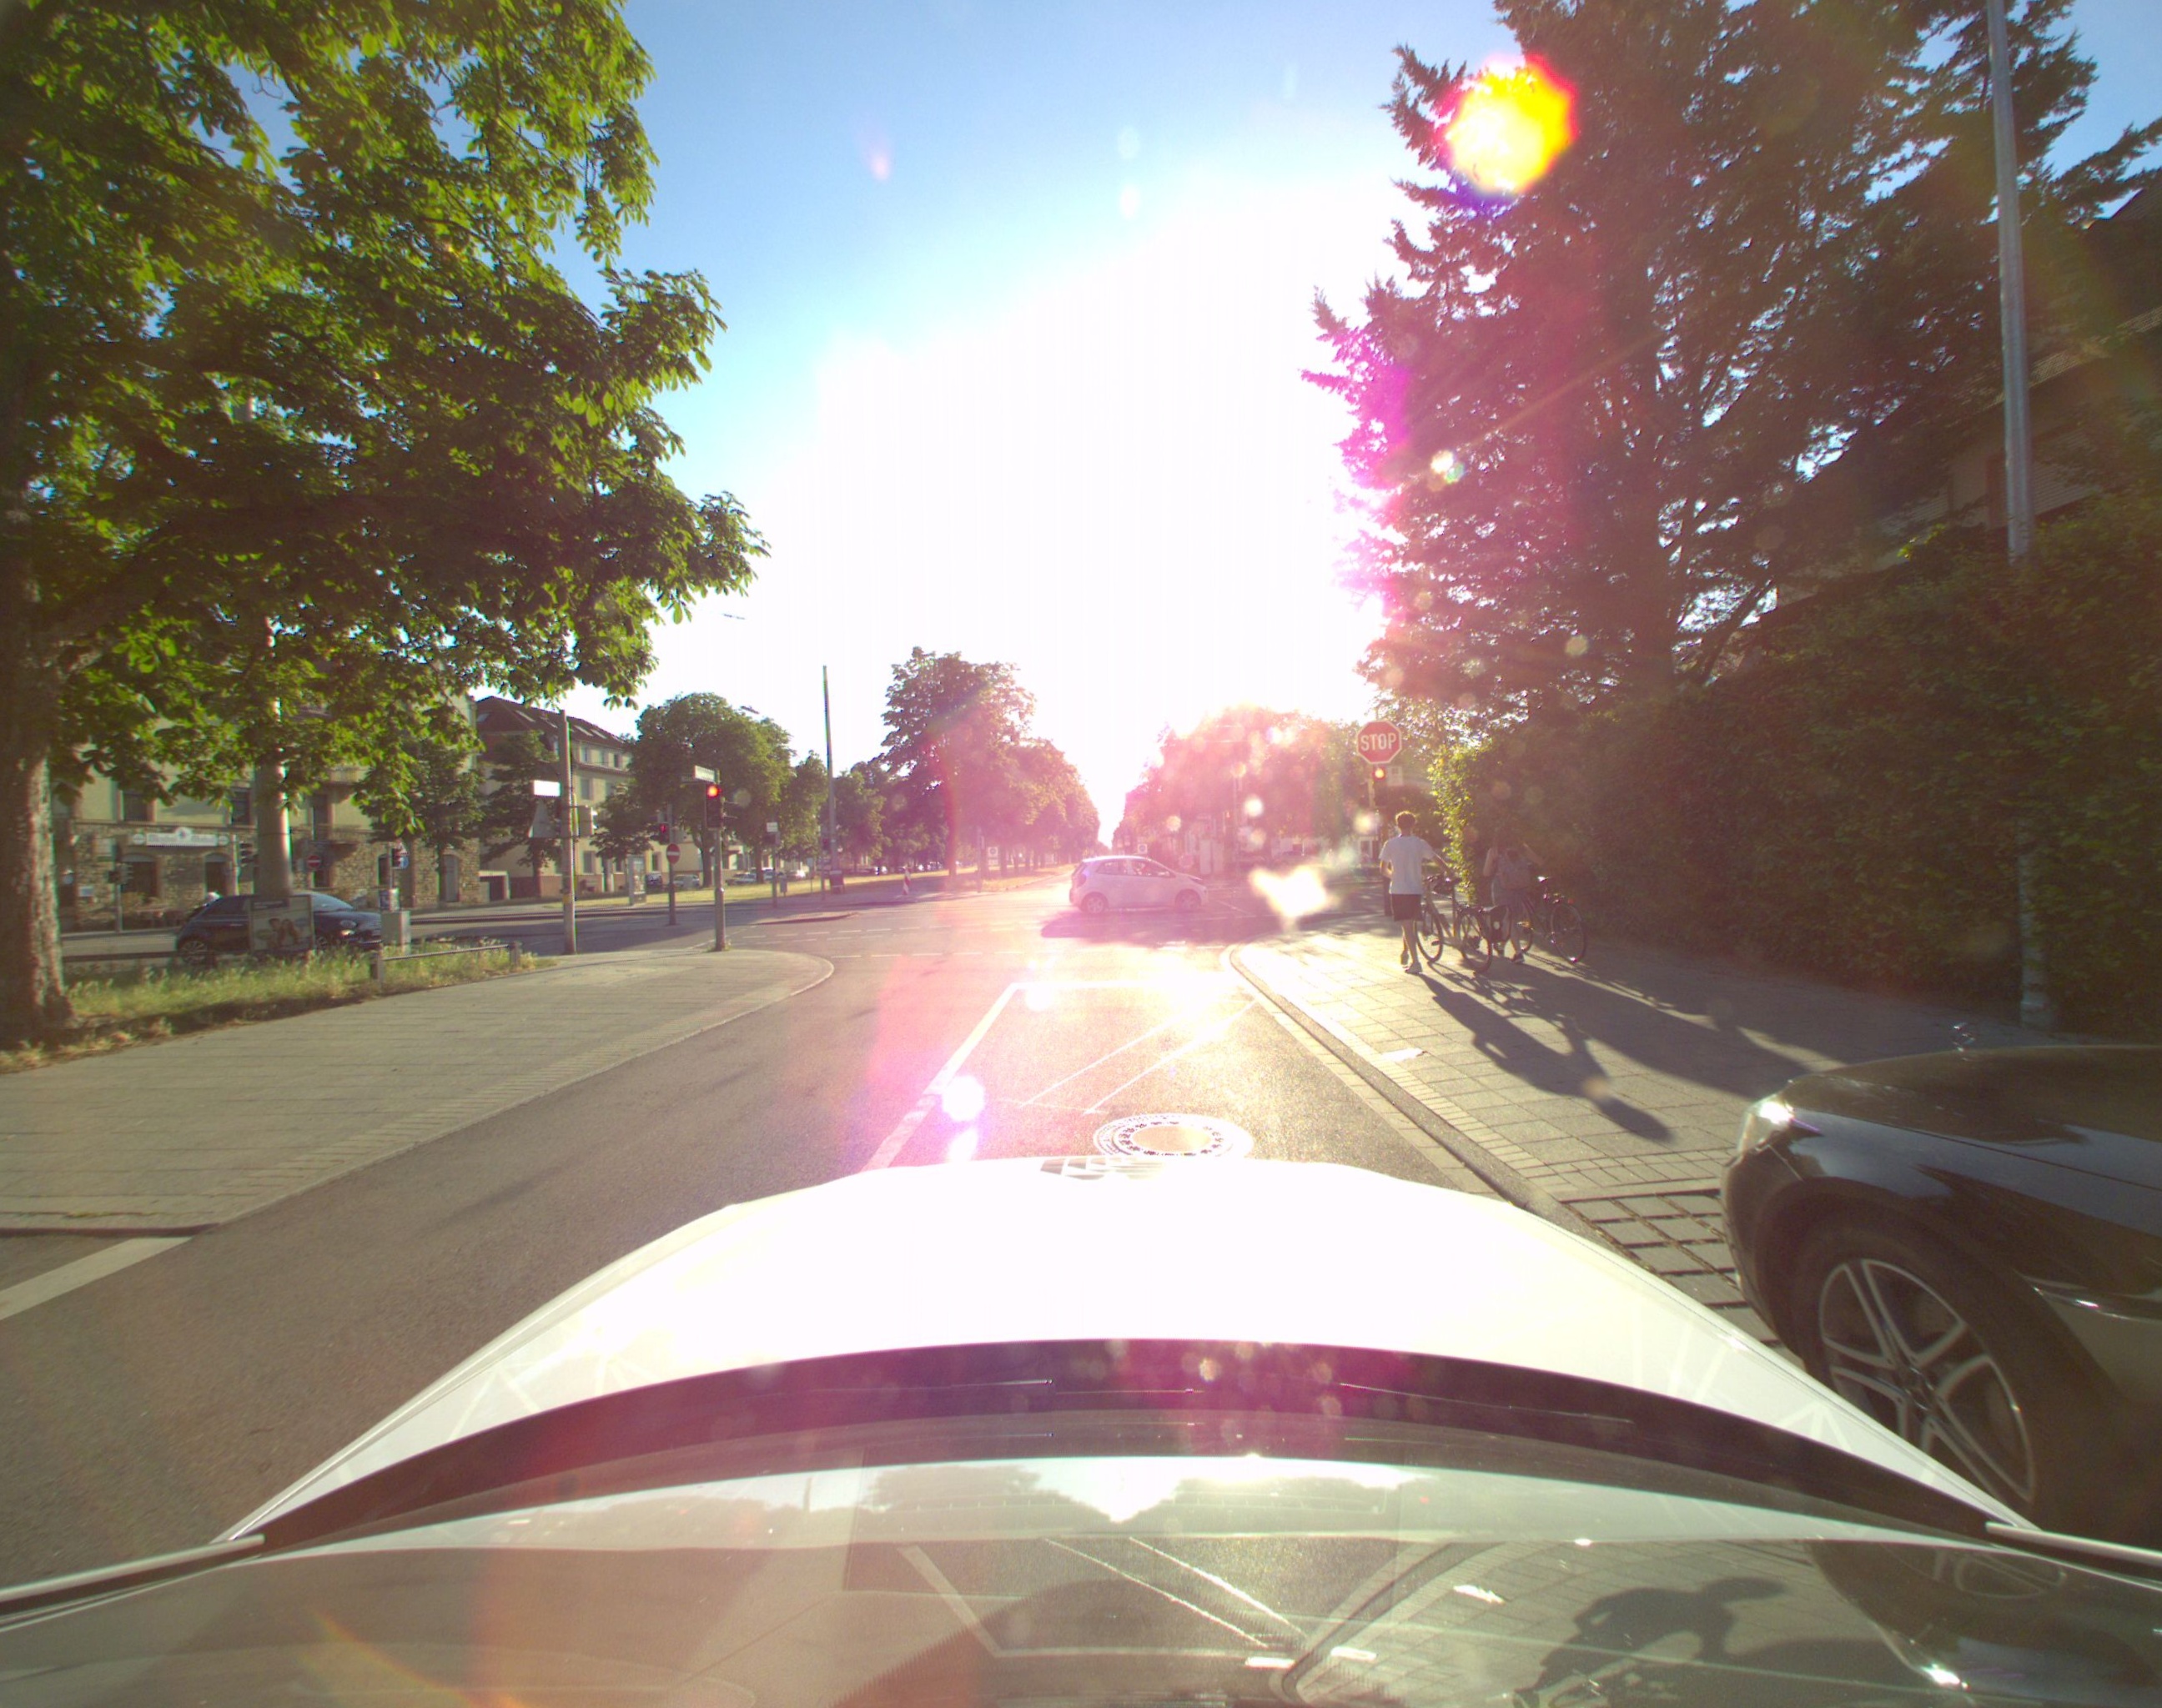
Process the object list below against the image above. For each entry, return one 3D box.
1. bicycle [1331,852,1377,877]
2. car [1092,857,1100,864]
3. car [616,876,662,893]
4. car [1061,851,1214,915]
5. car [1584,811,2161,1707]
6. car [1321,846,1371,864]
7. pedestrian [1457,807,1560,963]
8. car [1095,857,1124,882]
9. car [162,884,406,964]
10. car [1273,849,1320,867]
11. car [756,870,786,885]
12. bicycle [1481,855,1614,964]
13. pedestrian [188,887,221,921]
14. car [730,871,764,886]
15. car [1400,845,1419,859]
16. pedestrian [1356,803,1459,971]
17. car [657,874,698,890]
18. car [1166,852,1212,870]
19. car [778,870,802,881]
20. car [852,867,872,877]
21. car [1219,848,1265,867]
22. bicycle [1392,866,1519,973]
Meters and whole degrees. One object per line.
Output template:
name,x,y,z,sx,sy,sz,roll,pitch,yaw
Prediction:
bicycle,13.060,0.515,38.998,1.945,1.132,0.620,-2,-1,4
car,4.168,1.776,225.405,2.125,2.013,3.904,-2,0,3
car,-40.587,2.755,74.858,1.728,1.397,3.801,-2,0,8
car,1.439,0.725,21.342,3.686,1.488,1.735,-1,0,-10
car,2.602,0.665,0.266,1.853,1.542,4.873,-2,0,0
car,23.340,0.119,71.701,3.836,1.427,1.596,-2,0,-3
pedestrian,5.006,0.351,9.572,0.668,1.708,0.622,-7,0,-4
car,1.813,0.935,50.676,1.633,1.451,3.311,-2,0,4
car,-17.695,1.514,18.251,3.594,1.498,1.607,-2,0,-9
car,18.810,0.335,71.176,3.654,1.427,1.530,-2,-1,-3
car,-34.304,2.543,90.258,1.731,1.427,3.795,-2,1,3
bicycle,5.414,0.601,9.568,0.486,1.142,1.596,-4,0,-4
pedestrian,-43.753,2.494,40.641,0.721,1.642,0.815,-2,-1,-1
car,-34.448,2.509,84.045,1.731,1.427,3.795,-2,0,3
car,35.993,-0.209,89.103,1.648,1.418,3.563,-2,0,26
pedestrian,3.886,0.380,9.759,0.669,1.865,0.880,-5,0,-4
car,-40.230,2.766,81.324,1.728,1.427,3.801,-1,0,8
car,9.437,0.583,71.422,3.765,1.427,1.745,-2,1,2
car,-39.856,2.957,111.472,1.731,1.427,3.795,-1,0,3
car,-33.605,2.799,125.001,1.731,1.427,3.795,-1,0,3
car,14.101,0.299,71.495,3.765,1.525,1.745,-2,1,2
bicycle,4.349,0.712,9.614,0.486,1.097,1.788,-5,0,-4
